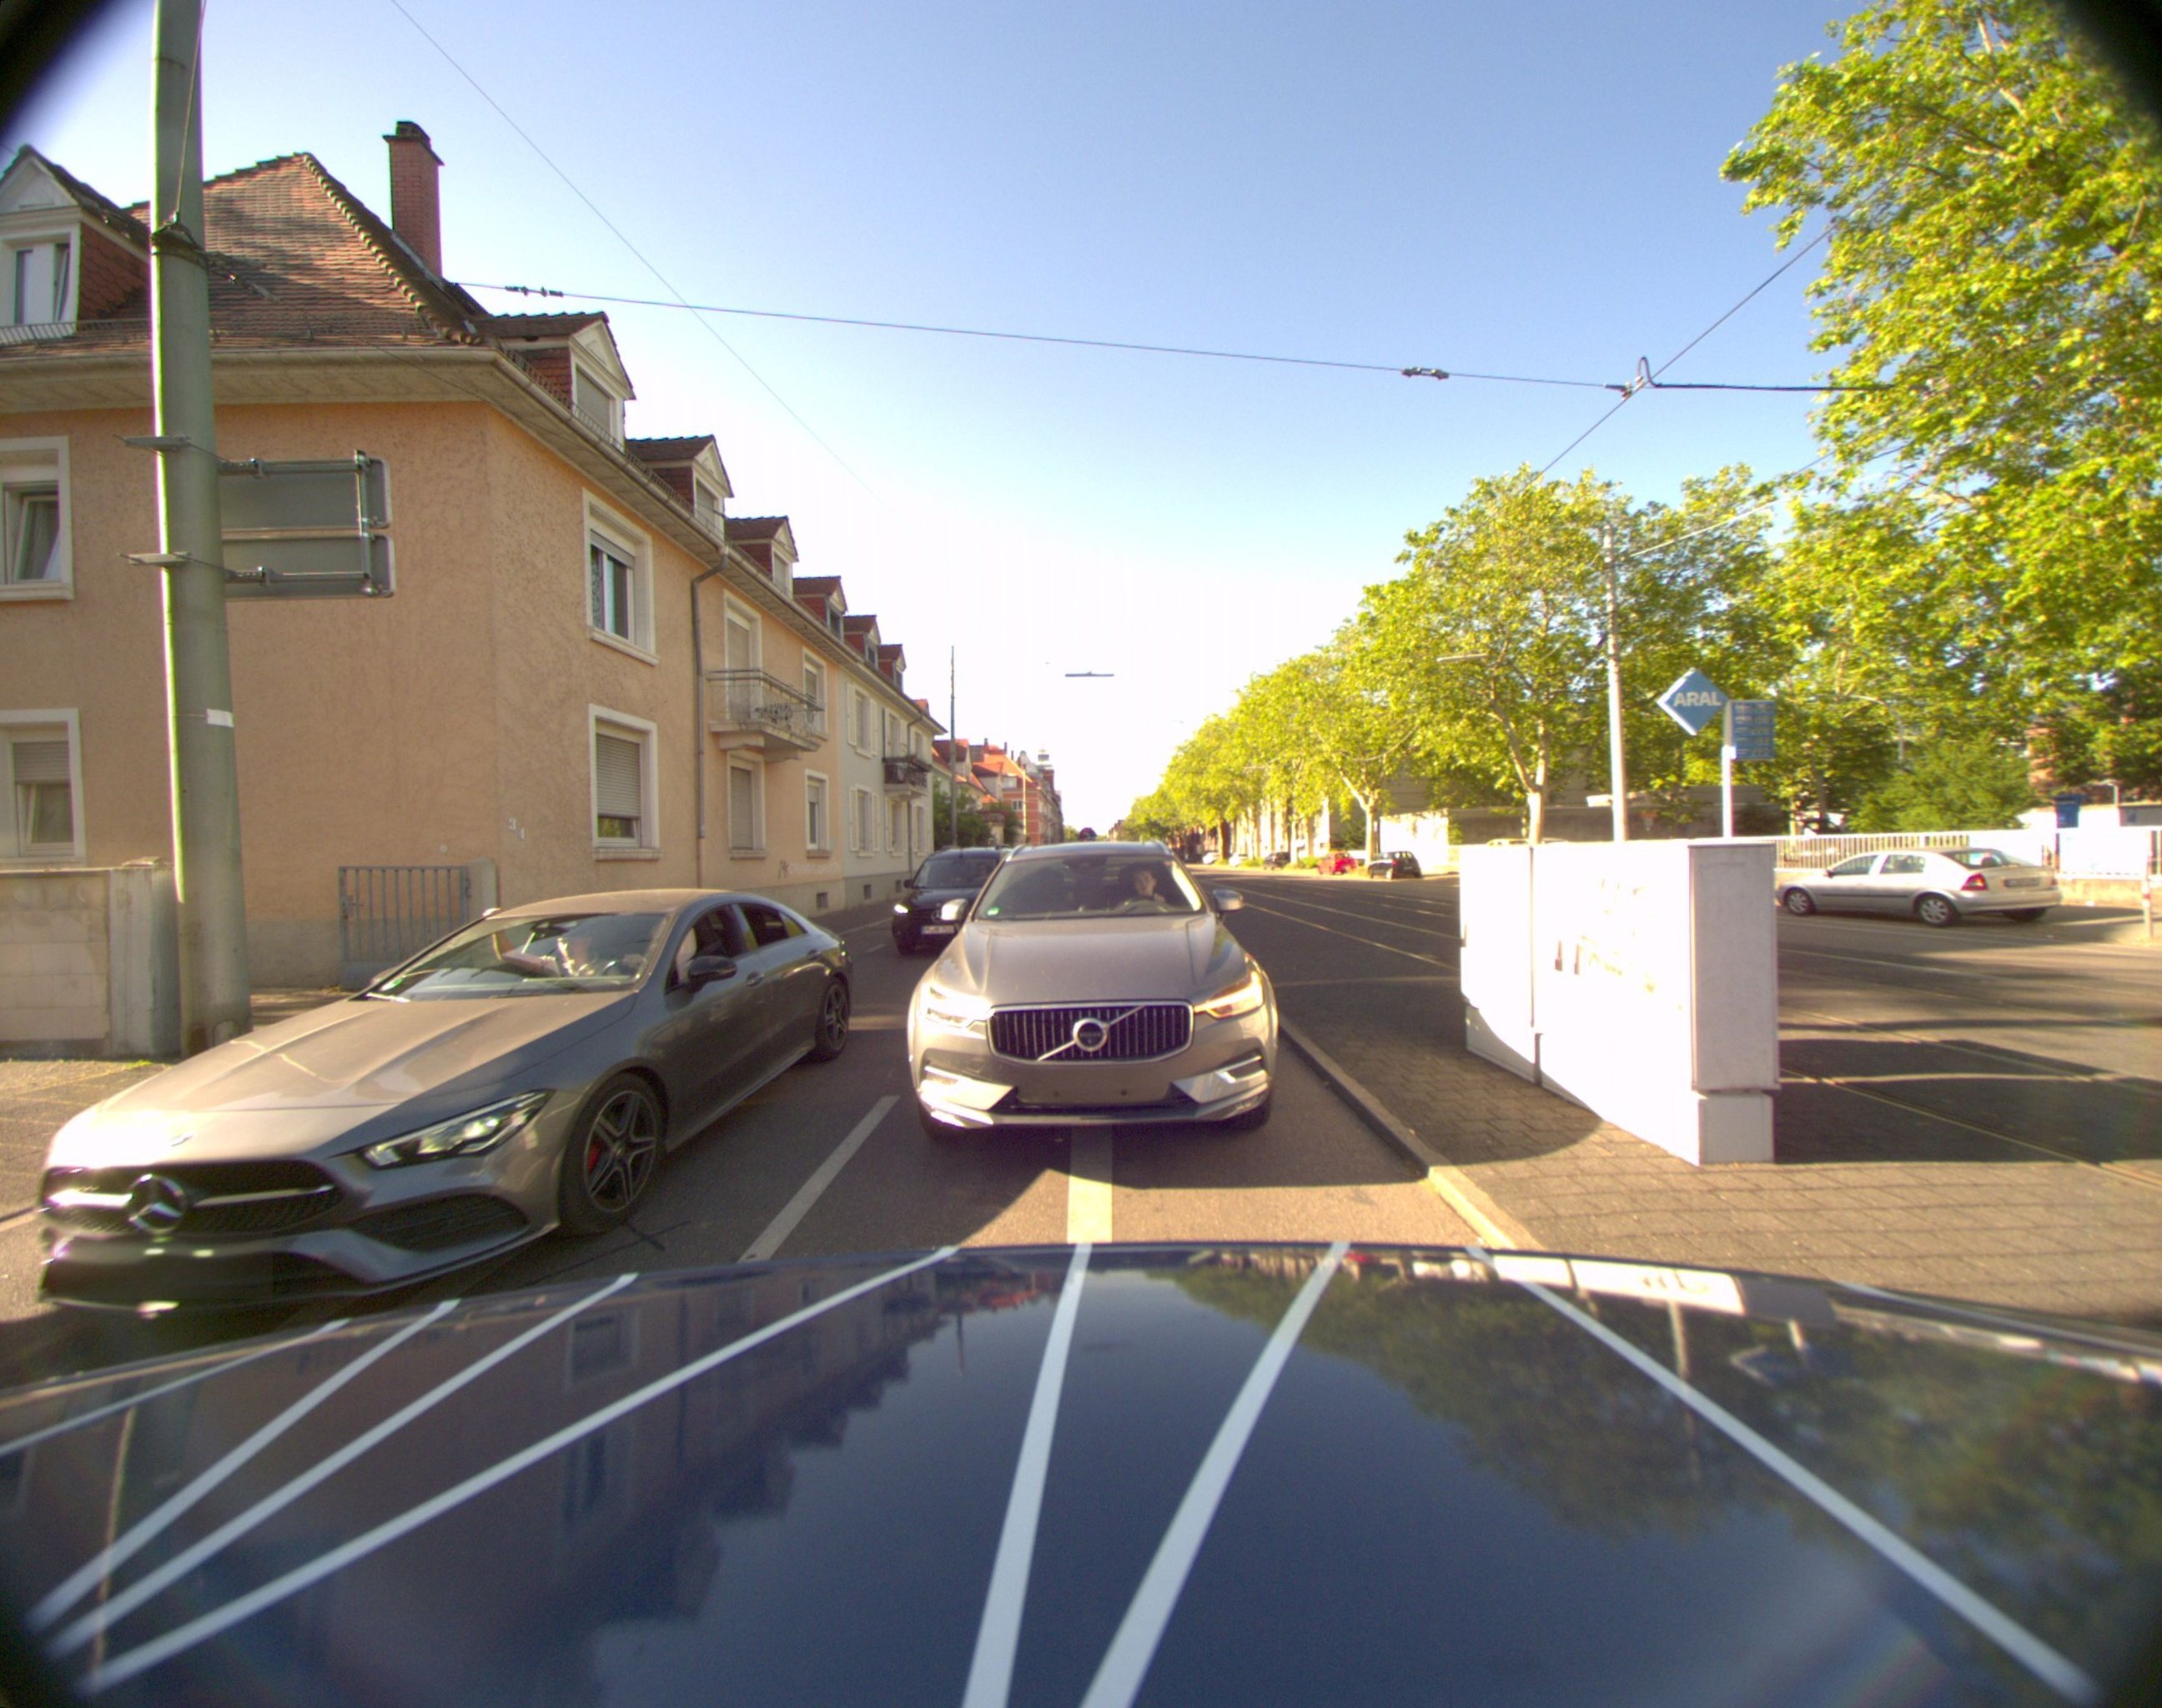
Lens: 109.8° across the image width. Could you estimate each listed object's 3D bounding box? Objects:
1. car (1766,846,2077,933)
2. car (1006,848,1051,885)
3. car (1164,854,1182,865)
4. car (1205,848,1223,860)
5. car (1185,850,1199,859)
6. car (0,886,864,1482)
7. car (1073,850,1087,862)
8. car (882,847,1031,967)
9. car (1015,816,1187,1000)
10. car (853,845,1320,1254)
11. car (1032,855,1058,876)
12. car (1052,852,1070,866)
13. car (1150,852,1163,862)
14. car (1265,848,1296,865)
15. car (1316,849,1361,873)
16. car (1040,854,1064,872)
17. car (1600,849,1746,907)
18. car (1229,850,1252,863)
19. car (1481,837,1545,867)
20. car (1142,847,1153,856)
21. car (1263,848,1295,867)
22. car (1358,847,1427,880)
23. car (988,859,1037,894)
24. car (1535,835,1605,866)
[{"bbox_3d":[16.171,0.594,14.985,1.731,1.412,3.999,-2,1,1],"label":"car"},{"bbox_3d":[-2.939,0.631,43.770,1.937,1.888,7.210,-2,1,1],"label":"car"},{"bbox_3d":[12.911,0.759,107.294,1.912,1.514,4.763,0,1,0],"label":"car"},{"bbox_3d":[17.654,0.004,100.779,1.700,1.548,3.999,-1,1,1],"label":"car"},{"bbox_3d":[18.321,0.019,125.556,1.700,1.401,3.999,-1,1,1],"label":"car"},{"bbox_3d":[-2.944,1.050,4.387,1.911,1.411,4.492,-2,1,2],"label":"car"},{"bbox_3d":[-0.169,0.266,106.483,1.841,1.449,3.999,-2,1,1],"label":"car"},{"bbox_3d":[-2.088,0.802,14.178,1.866,1.794,4.778,-2,1,1],"label":"car"},{"bbox_3d":[0.234,0.595,11.117,1.912,2.048,4.763,-2,1,0],"label":"car"},{"bbox_3d":[0.033,0.806,5.596,1.912,1.666,4.763,-2,1,0],"label":"car"},{"bbox_3d":[-2.834,0.883,60.584,1.841,1.449,3.999,-2,1,1],"label":"car"},{"bbox_3d":[-2.191,0.580,85.430,1.841,1.449,3.999,-2,1,1],"label":"car"},{"bbox_3d":[12.928,0.584,130.823,1.700,1.412,3.999,9,1,1],"label":"car"},{"bbox_3d":[17.278,0.224,65.909,1.700,1.401,3.999,-1,1,1],"label":"car"},{"bbox_3d":[17.005,0.443,50.374,1.700,1.460,3.999,-1,1,1],"label":"car"},{"bbox_3d":[-2.538,0.800,66.993,1.841,1.449,3.999,-2,1,1],"label":"car"},{"bbox_3d":[16.375,0.606,21.203,1.546,1.412,3.254,-2,1,1],"label":"car"},{"bbox_3d":[17.508,0.247,83.517,1.700,1.401,3.999,-1,1,1],"label":"car"},{"bbox_3d":[21.712,-0.114,38.296,1.545,1.412,3.151,-2,1,4],"label":"car"},{"bbox_3d":[13.875,-0.608,159.538,1.850,1.835,4.394,-1,1,-1],"label":"car"},{"bbox_3d":[17.161,0.317,65.990,1.700,1.566,3.999,-1,1,1],"label":"car"},{"bbox_3d":[16.833,0.455,41.256,1.753,1.514,4.434,-5,1,-1],"label":"car"},{"bbox_3d":[-3.216,1.012,36.393,1.841,1.449,3.999,-2,1,1],"label":"car"},{"bbox_3d":[24.280,-0.179,37.835,1.545,1.412,3.151,-2,1,4],"label":"car"}]
